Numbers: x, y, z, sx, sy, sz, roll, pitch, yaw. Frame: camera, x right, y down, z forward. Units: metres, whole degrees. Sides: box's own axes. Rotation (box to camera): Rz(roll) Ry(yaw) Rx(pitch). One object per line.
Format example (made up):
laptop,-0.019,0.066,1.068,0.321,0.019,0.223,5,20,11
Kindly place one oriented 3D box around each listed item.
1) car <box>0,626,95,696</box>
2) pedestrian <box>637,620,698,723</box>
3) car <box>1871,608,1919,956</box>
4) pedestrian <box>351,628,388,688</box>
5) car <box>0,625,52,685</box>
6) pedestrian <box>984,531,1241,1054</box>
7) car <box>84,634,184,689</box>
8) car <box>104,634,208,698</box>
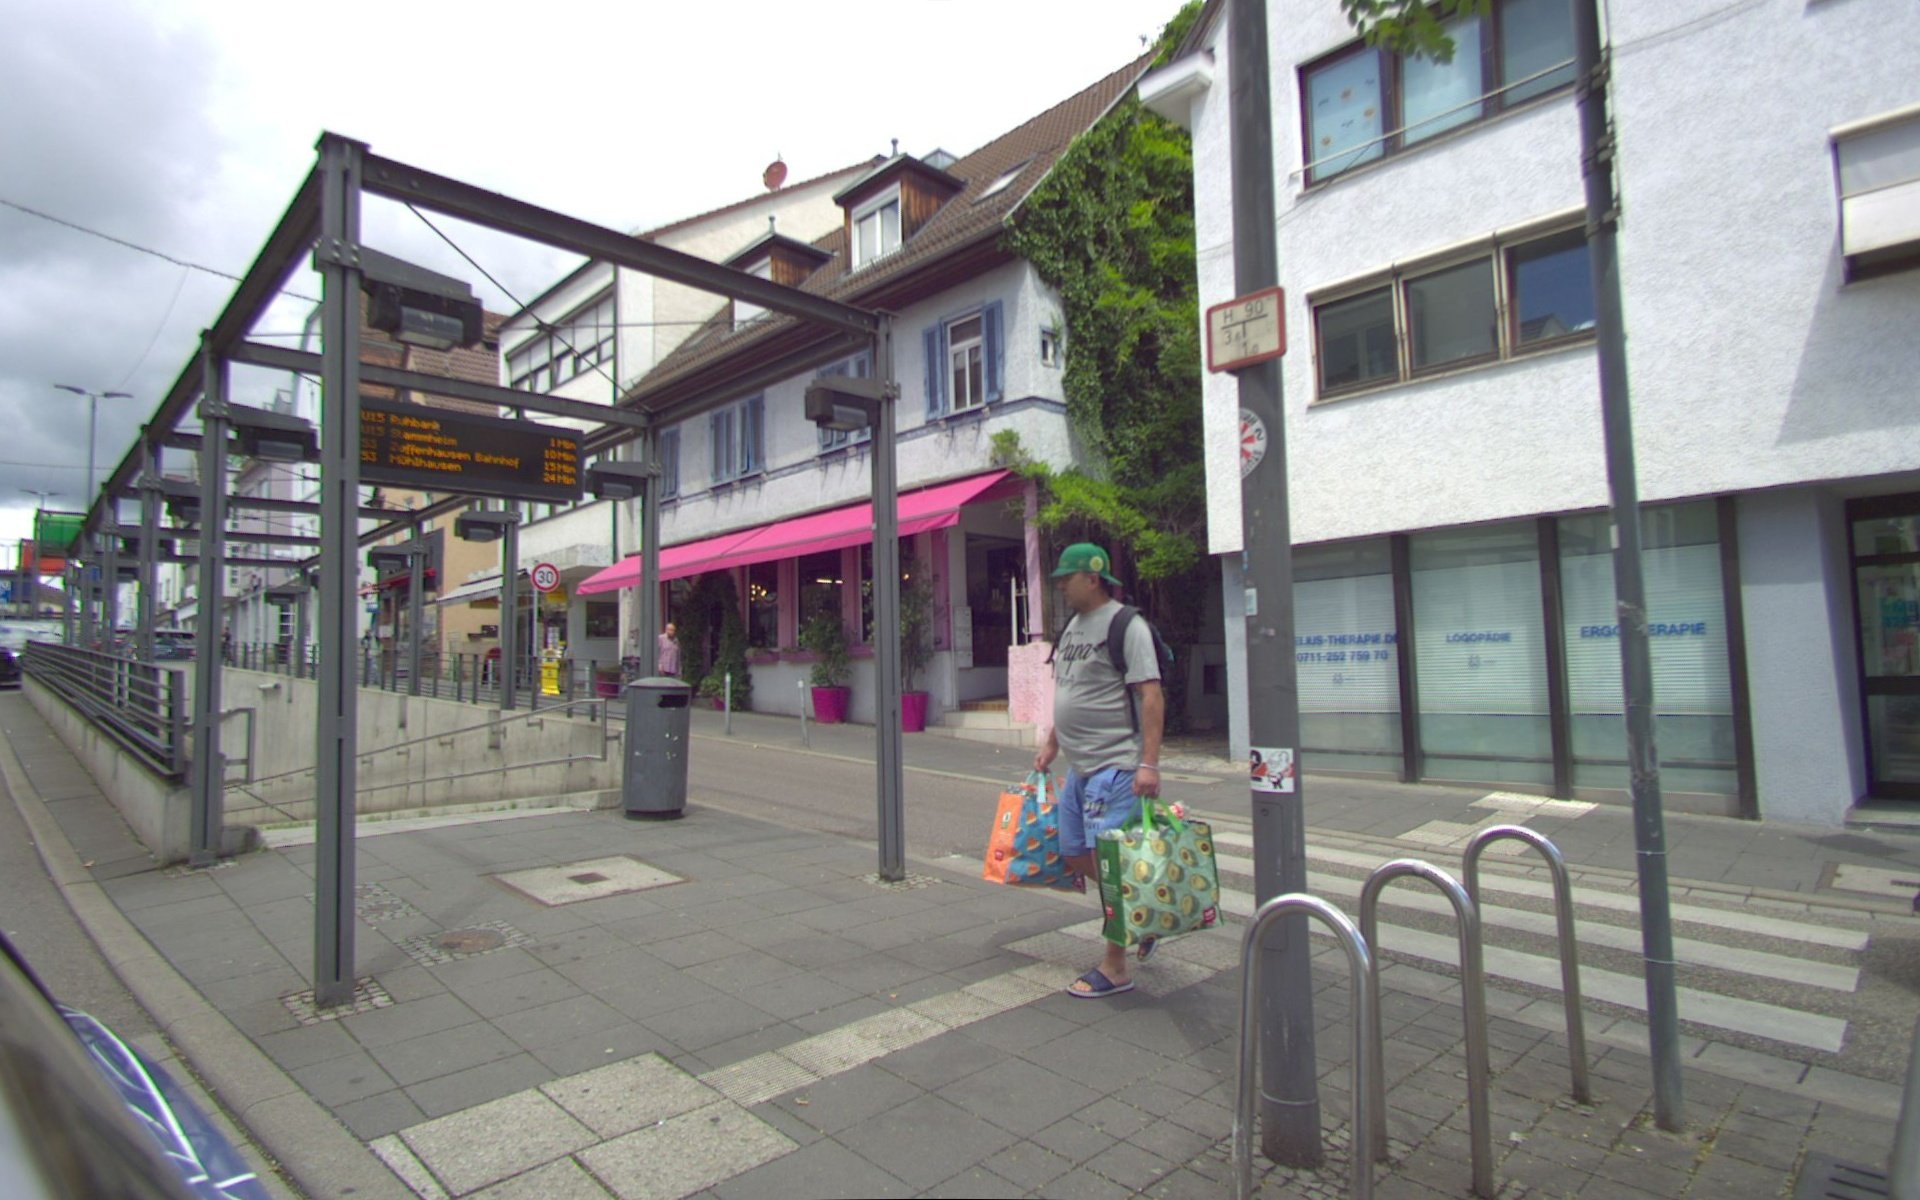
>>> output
car,-22.941,1.455,24.909,4.431,1.578,1.972,-2,-3,43
pedestrian,-5.153,1.256,17.855,0.686,1.753,0.825,4,-5,-44
car,6.291,0.814,3.395,4.326,1.633,1.955,-1,-3,23
pedestrian,-17.482,1.720,29.967,0.664,1.727,0.738,-3,-5,45
car,-27.326,1.551,29.070,3.534,1.622,1.555,-2,-4,44
pedestrian,0.662,0.687,4.120,0.911,1.801,0.983,0,-4,16
car,-26.411,1.909,32.300,4.496,1.601,1.971,-2,-3,44
car,-21.497,1.710,27.025,3.900,1.559,1.680,-2,-3,44
